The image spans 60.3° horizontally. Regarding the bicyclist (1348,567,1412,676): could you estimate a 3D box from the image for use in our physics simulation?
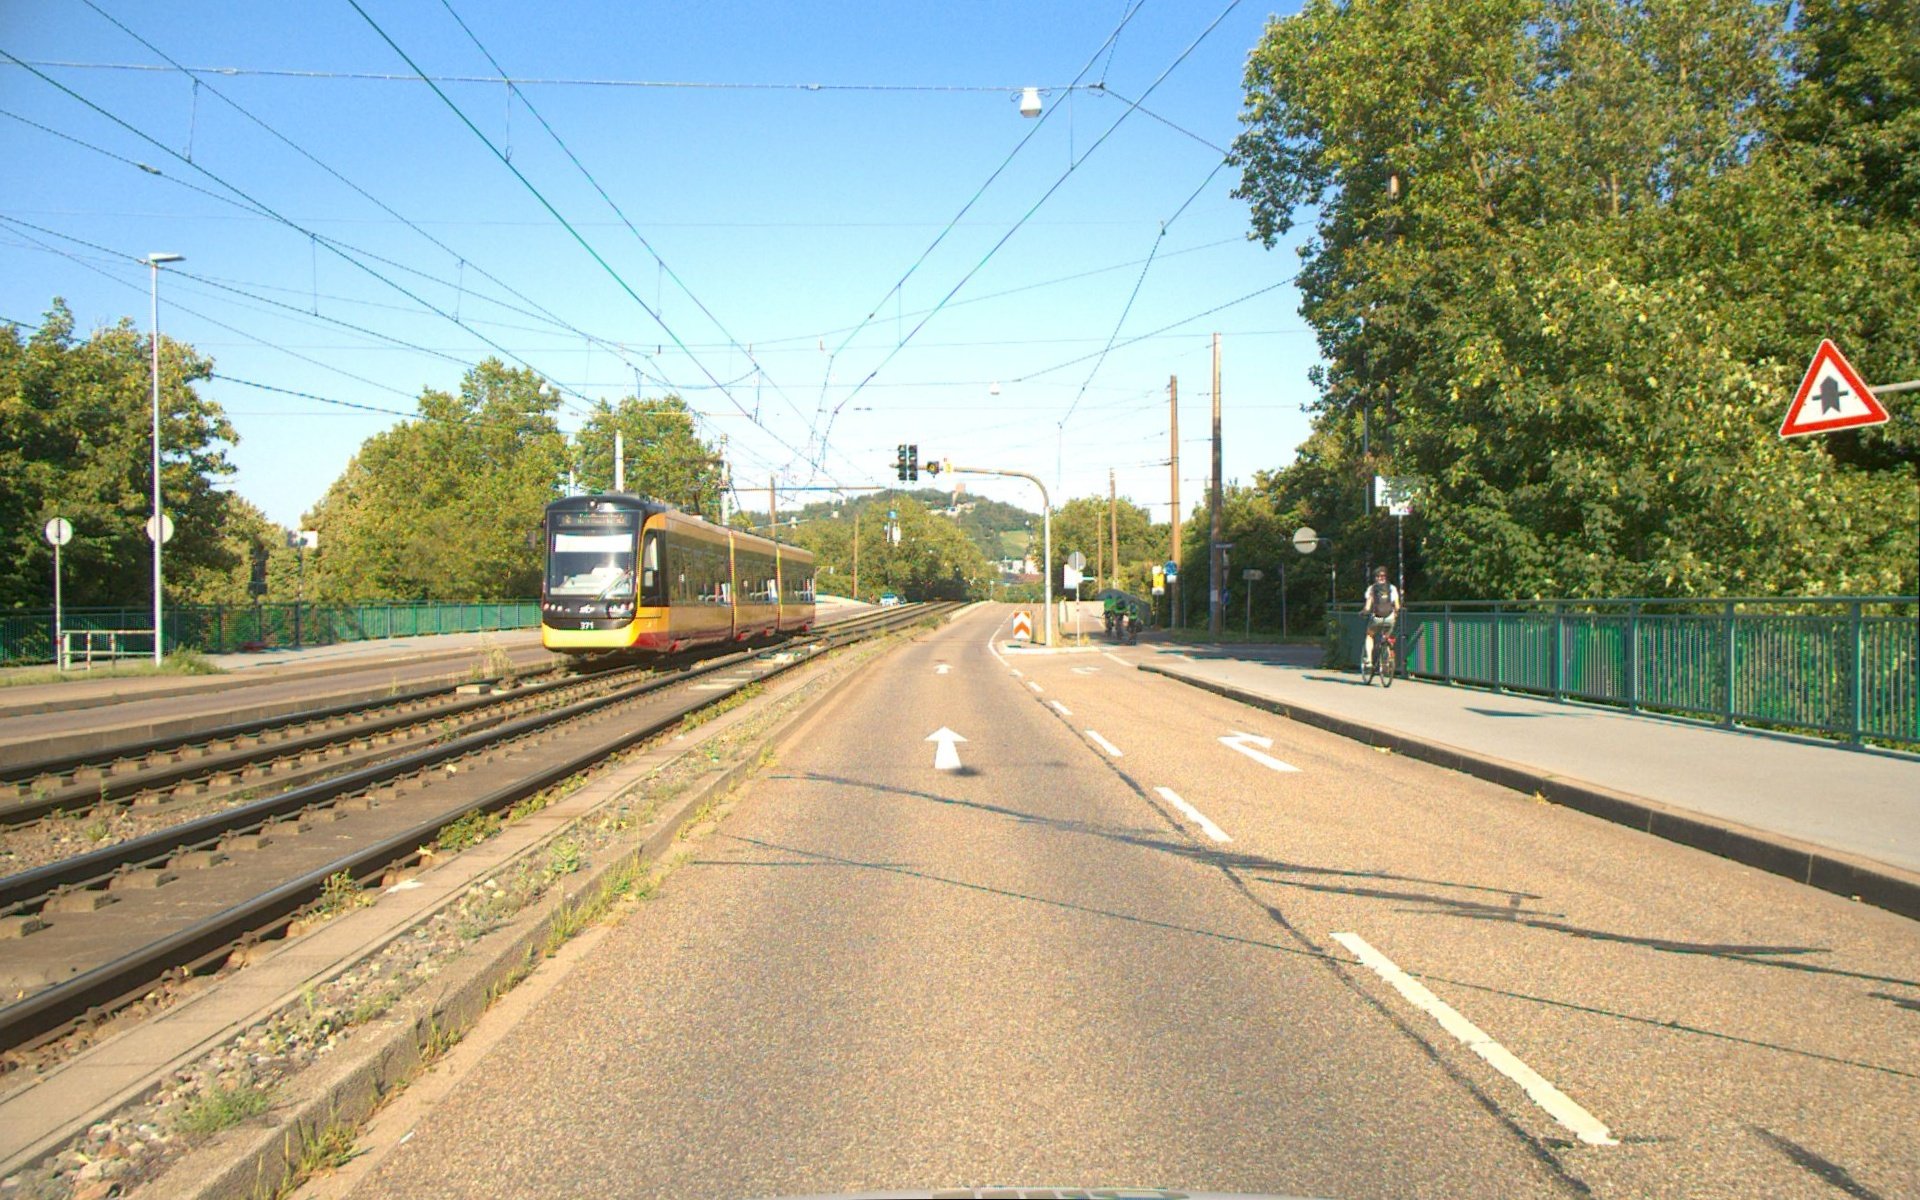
[{"bbox_3d":[6.777,0.342,26.751,0.716,1.719,1.202,0,0,-1],"label":"bicyclist"}]

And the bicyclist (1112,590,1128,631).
[{"bbox_3d":[6.294,0.415,65.050,0.612,1.620,0.931,0,0,3],"label":"bicyclist"}]

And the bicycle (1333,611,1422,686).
[{"bbox_3d":[6.761,0.755,26.918,0.716,1.142,2.741,0,0,-1],"label":"bicycle"}]

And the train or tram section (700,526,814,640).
[{"bbox_3d":[-7.644,-0.599,64.024,2.917,3.969,12.700,0,0,0],"label":"train or tram section"}]

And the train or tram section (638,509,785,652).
[{"bbox_3d":[-7.536,-0.550,51.863,2.915,3.969,11.663,0,0,0],"label":"train or tram section"}]

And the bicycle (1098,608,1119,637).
[{"bbox_3d":[6.111,0.928,68.159,0.612,1.142,2.259,0,0,-1],"label":"bicycle"}]

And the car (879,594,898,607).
[{"bbox_3d":[-7.996,0.038,185.038,1.648,1.380,4.922,0,0,3],"label":"car"}]

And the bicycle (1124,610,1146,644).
[{"bbox_3d":[6.312,0.954,59.870,0.669,1.142,2.217,0,1,3],"label":"bicycle"}]

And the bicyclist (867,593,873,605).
[{"bbox_3d":[-10.620,-0.110,195.127,0.612,1.457,0.969,0,0,0],"label":"bicyclist"}]

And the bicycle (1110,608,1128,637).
[{"bbox_3d":[6.257,0.875,65.030,0.612,1.142,2.043,0,0,3],"label":"bicycle"}]

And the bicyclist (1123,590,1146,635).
[{"bbox_3d":[6.302,0.455,59.844,0.795,1.589,0.897,0,1,3],"label":"bicyclist"}]

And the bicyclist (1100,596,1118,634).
[{"bbox_3d":[6.120,0.612,68.033,0.612,1.534,1.006,0,0,-1],"label":"bicyclist"}]

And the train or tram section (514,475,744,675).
[{"bbox_3d":[-7.447,-0.522,39.488,2.942,3.969,13.079,0,0,0],"label":"train or tram section"}]
